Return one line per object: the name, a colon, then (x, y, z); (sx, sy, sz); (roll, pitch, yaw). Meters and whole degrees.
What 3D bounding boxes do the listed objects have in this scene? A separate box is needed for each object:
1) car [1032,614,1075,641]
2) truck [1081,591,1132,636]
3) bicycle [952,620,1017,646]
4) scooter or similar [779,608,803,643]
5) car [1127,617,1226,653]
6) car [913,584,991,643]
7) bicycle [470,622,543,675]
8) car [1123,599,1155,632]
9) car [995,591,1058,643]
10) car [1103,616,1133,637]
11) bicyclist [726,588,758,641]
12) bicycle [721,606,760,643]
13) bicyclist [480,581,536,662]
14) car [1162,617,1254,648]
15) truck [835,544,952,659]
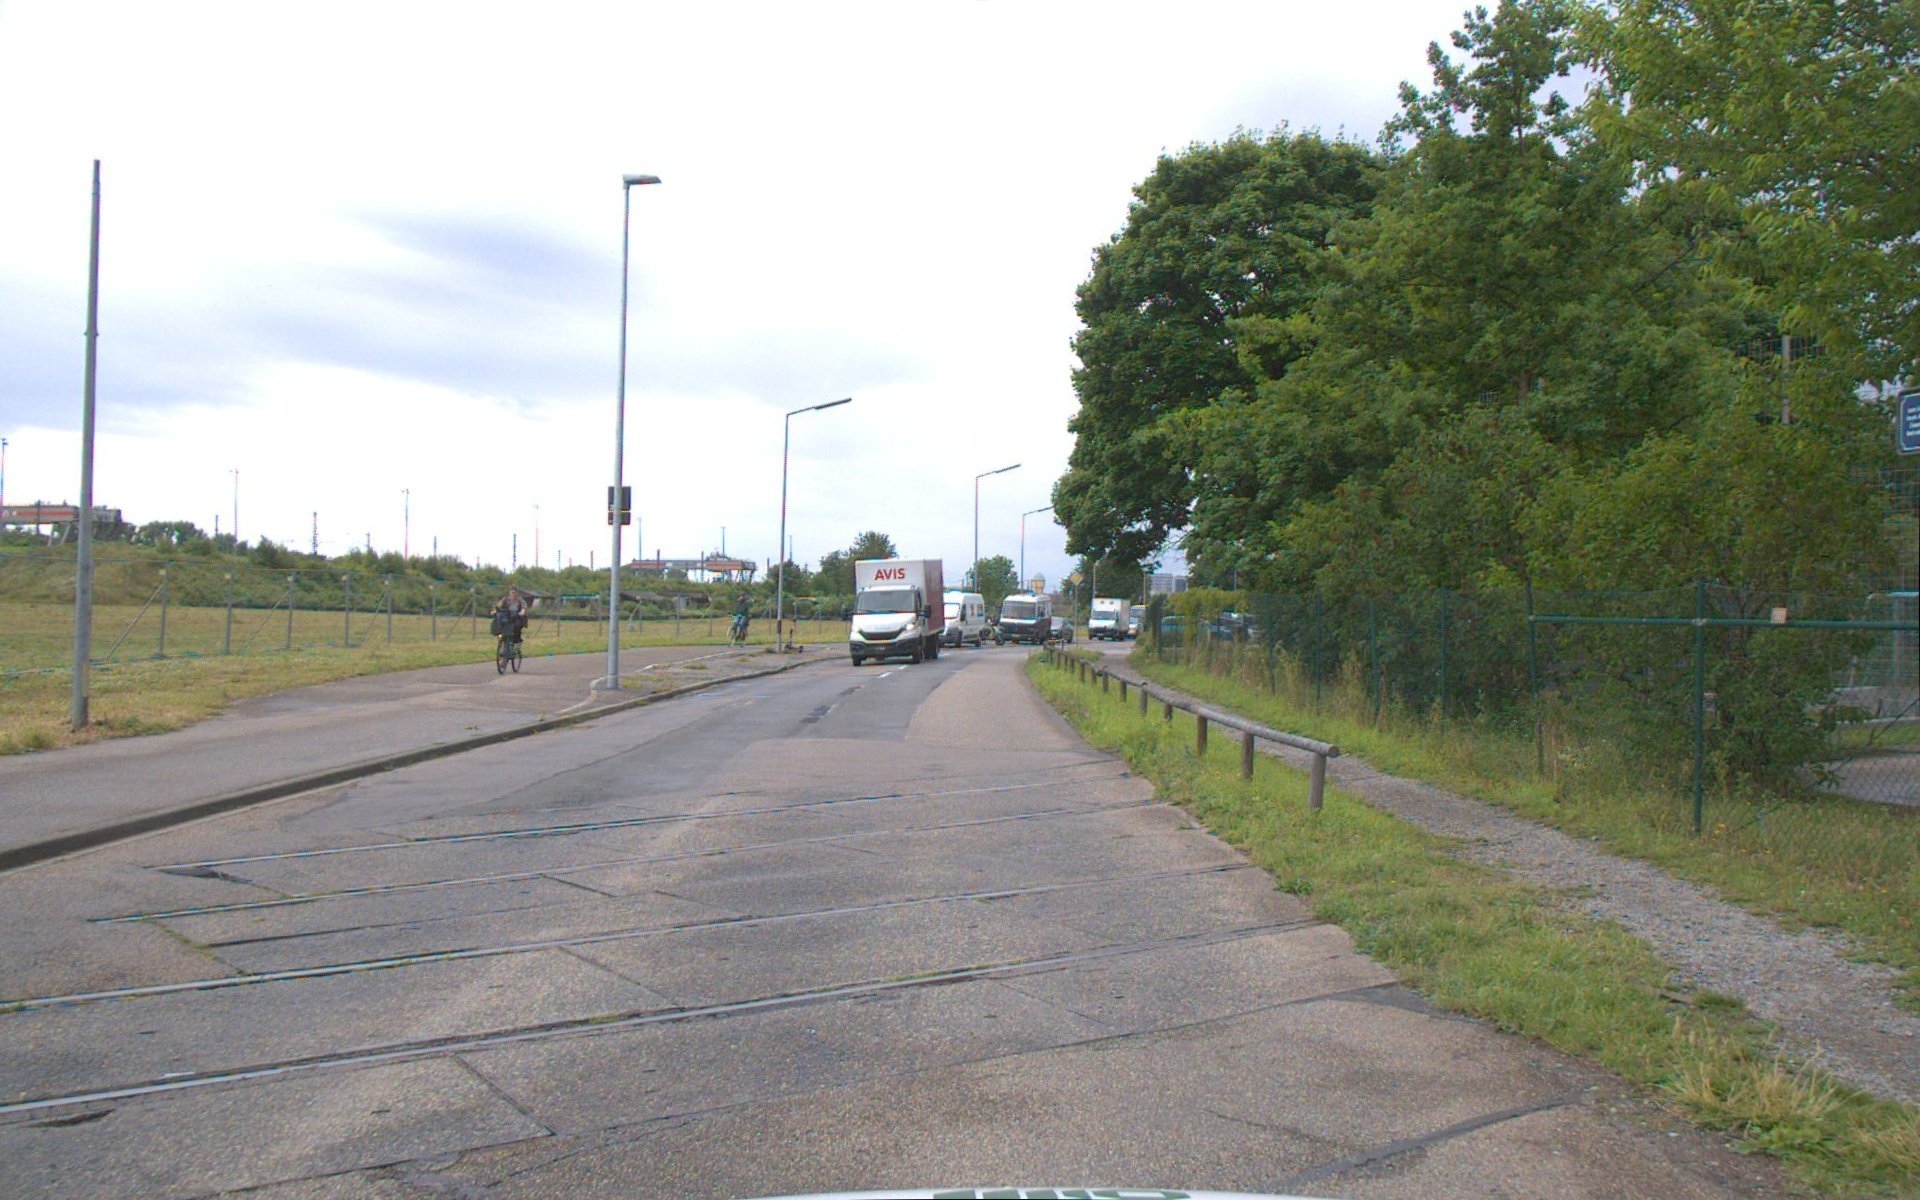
car: (5.632, 1.643, 99.565); (1.742, 1.531, 4.003); (1, 0, 16)
truck: (10.646, 0.943, 119.620); (2.409, 3.114, 8.168); (1, 0, 14)
bicycle: (1.248, 1.695, 84.599); (3.054, 1.220, 1.366); (1, 0, 14)
scooter or similar: (-6.093, 0.917, 59.632); (0.596, 1.203, 1.702); (3, 0, 0)
car: (10.867, 1.728, 82.930); (4.758, 1.644, 1.844); (1, 0, 14)
car: (-0.285, 0.614, 76.963); (2.240, 2.600, 6.415); (1, 0, 13)
bicycle: (-8.820, 0.929, 32.251); (0.787, 0.923, 2.232); (1, 0, 0)
car: (14.808, 1.262, 136.557); (1.962, 2.619, 4.789); (1, 0, 14)
car: (3.799, 0.903, 92.789); (2.251, 2.782, 6.096); (1, 0, 15)
car: (12.232, 2.014, 127.785); (1.718, 1.552, 4.003); (1, 0, 14)
bicyclist: (-7.818, 0.515, 59.400); (0.810, 1.853, 1.331); (1, 0, 6)
bicycle: (-7.843, 0.860, 59.183); (0.801, 1.225, 2.559); (1, 0, 6)
bicyclist: (-8.798, 0.406, 32.254); (0.766, 1.553, 1.094); (1, 0, 0)
car: (13.513, 1.730, 90.111); (4.758, 1.526, 1.844); (1, 0, 14)
truck: (-1.849, 0.054, 49.395); (2.291, 3.116, 7.502); (-2, 0, 7)
